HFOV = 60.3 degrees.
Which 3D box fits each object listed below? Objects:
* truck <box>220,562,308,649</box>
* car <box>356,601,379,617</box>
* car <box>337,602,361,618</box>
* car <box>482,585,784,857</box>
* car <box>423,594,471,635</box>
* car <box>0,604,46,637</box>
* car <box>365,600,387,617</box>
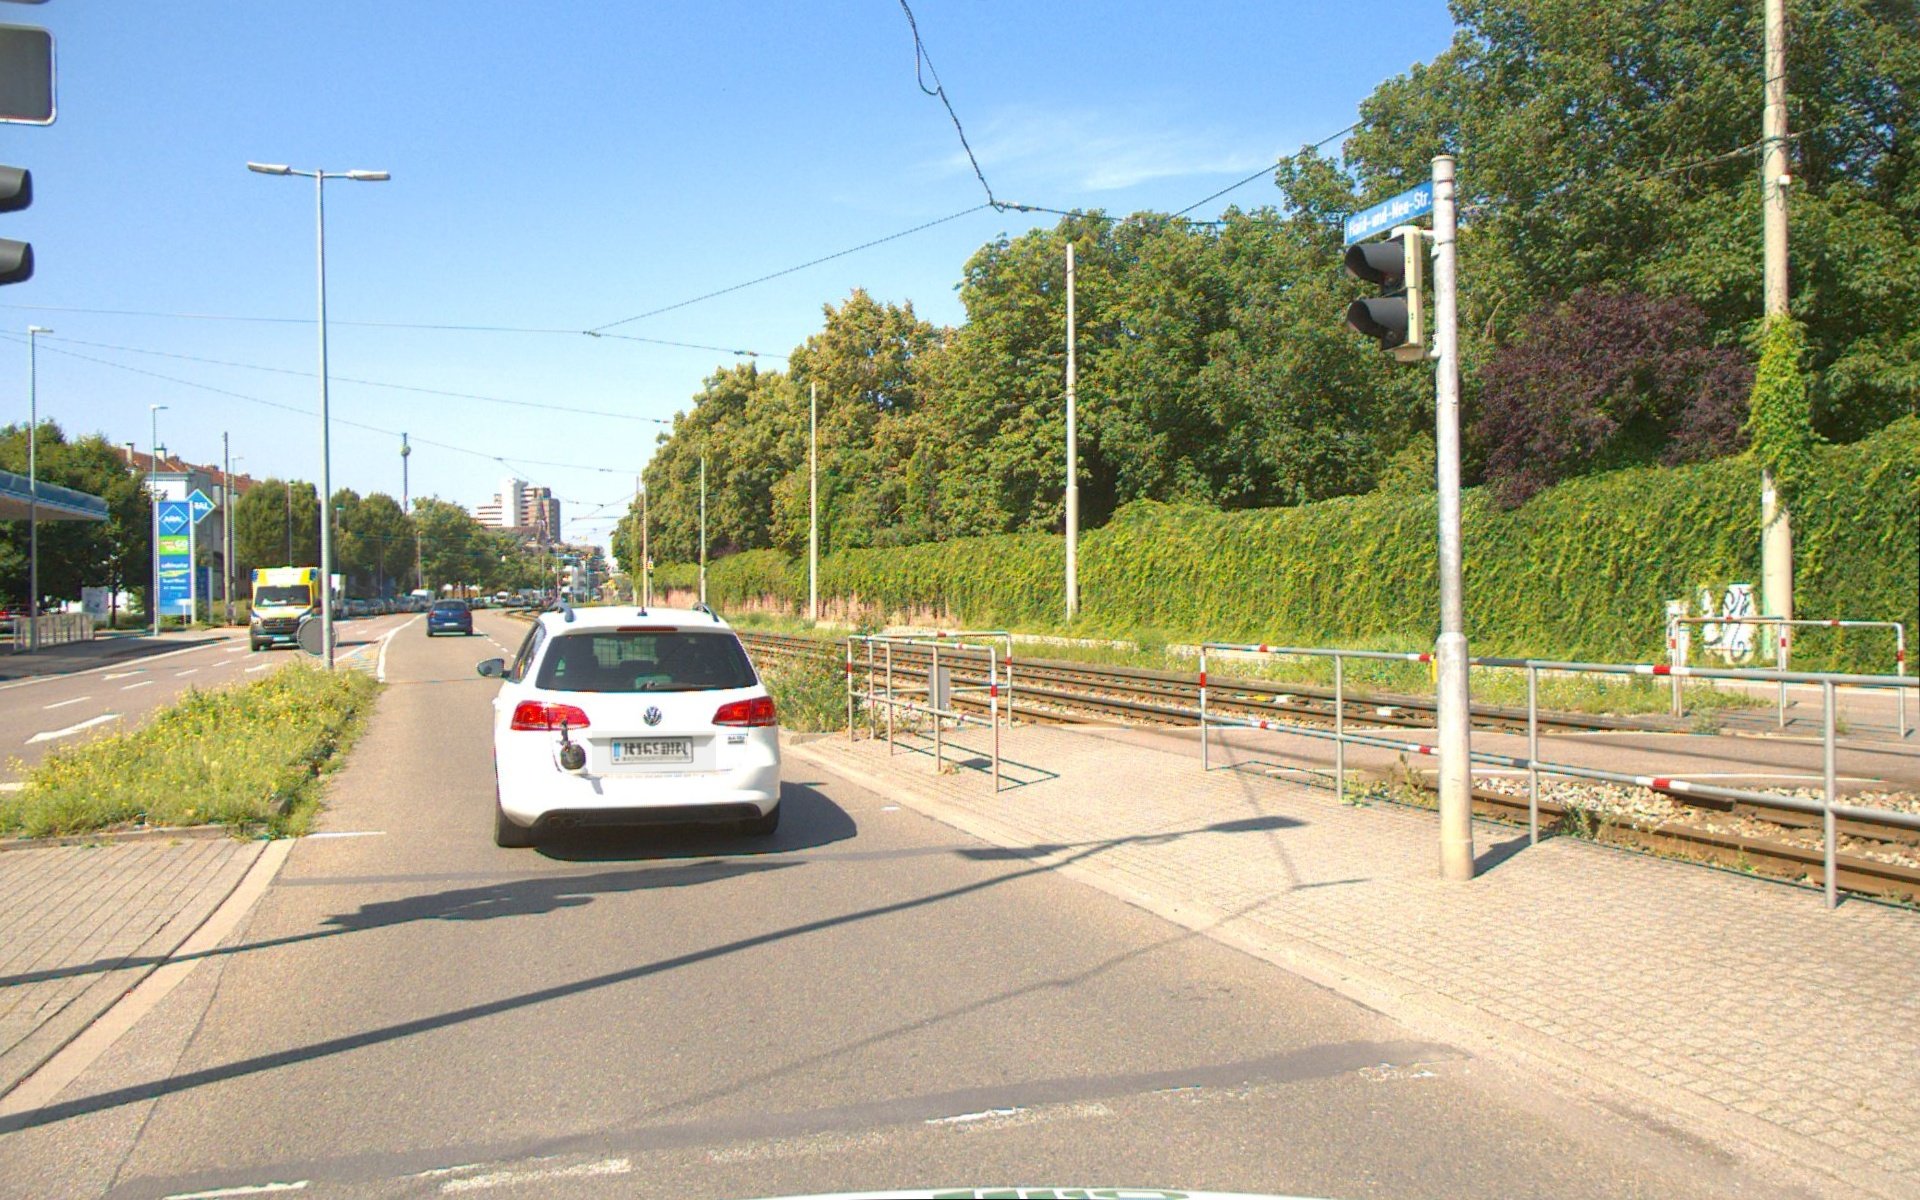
[{"bbox_3d":[-23.689,0.160,56.525,2.296,2.714,7.317,-2,1,-20],"label":"truck"},{"bbox_3d":[-60.658,0.934,169.406,1.687,1.653,4.298,0,0,-13],"label":"car"},{"bbox_3d":[-58.001,0.981,157.058,1.752,1.509,4.835,0,-1,-16],"label":"car"},{"bbox_3d":[-2.418,0.665,11.388,1.664,1.476,4.438,0,0,-16],"label":"car"},{"bbox_3d":[-20.422,0.533,65.947,1.771,1.533,3.983,0,1,-16],"label":"car"},{"bbox_3d":[-51.381,1.116,90.189,1.772,1.597,4.495,-1,2,-18],"label":"car"},{"bbox_3d":[-61.718,0.899,174.832,1.739,1.753,4.852,1,0,-14],"label":"car"}]
